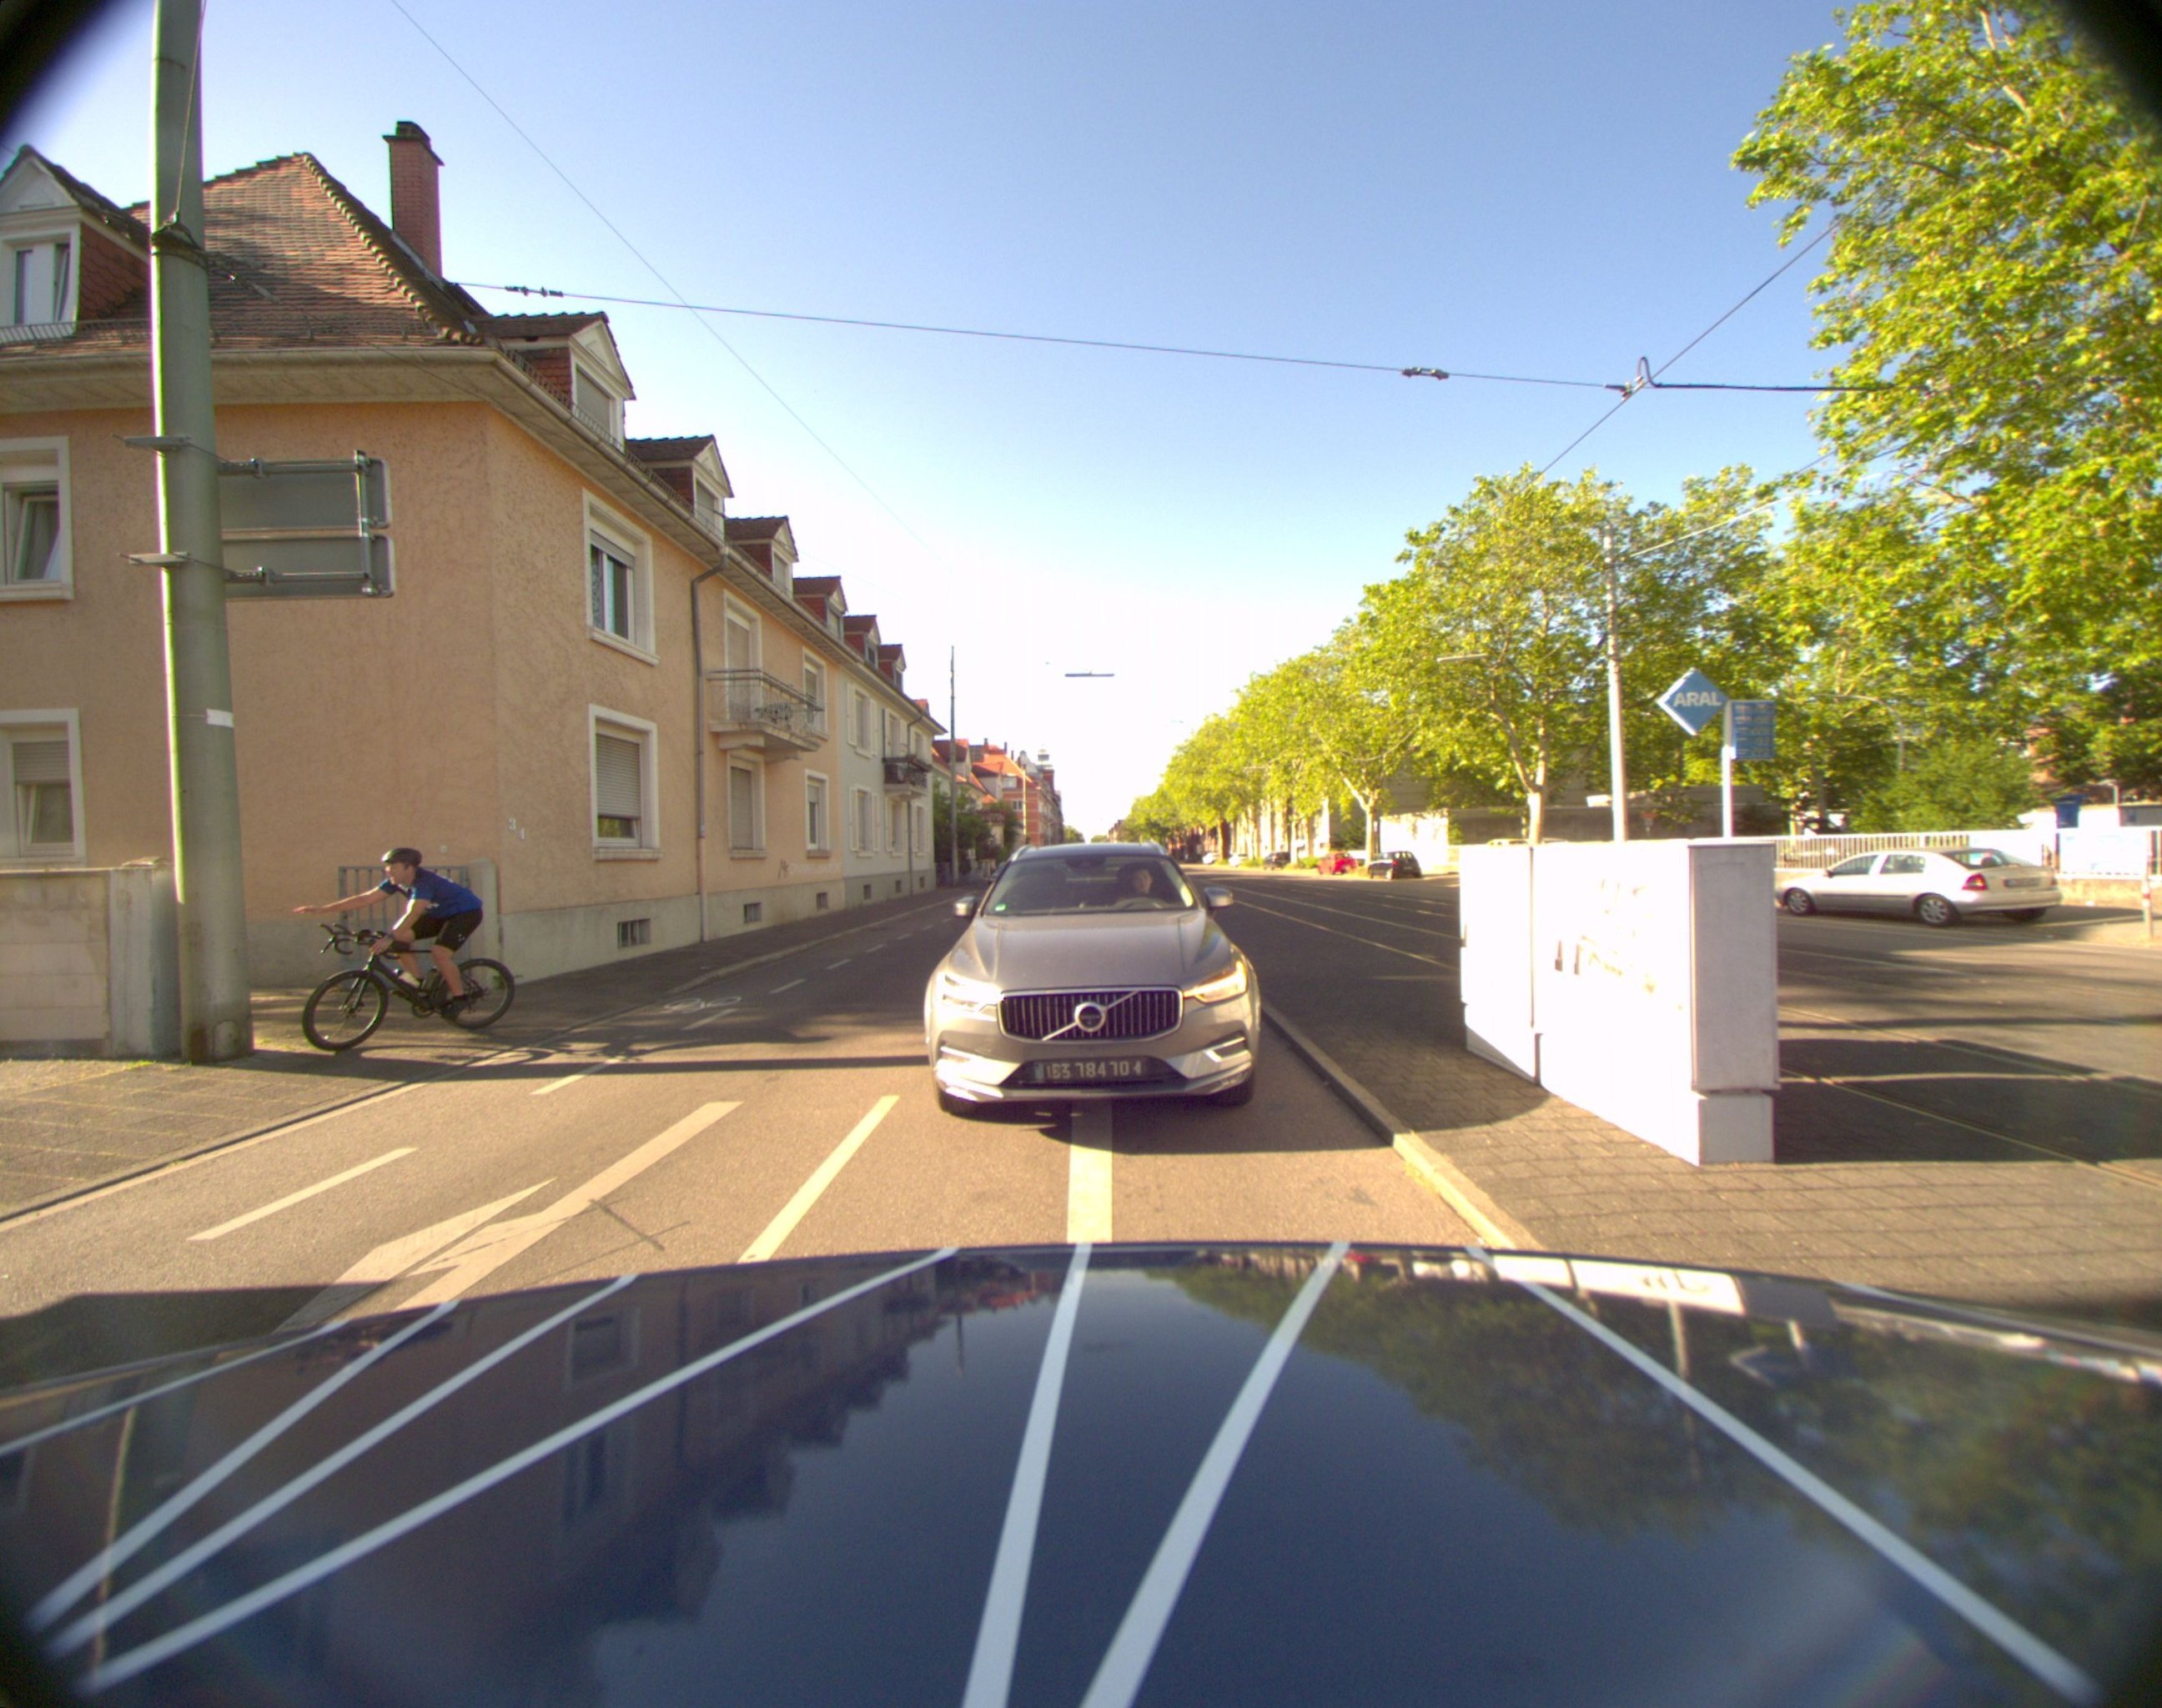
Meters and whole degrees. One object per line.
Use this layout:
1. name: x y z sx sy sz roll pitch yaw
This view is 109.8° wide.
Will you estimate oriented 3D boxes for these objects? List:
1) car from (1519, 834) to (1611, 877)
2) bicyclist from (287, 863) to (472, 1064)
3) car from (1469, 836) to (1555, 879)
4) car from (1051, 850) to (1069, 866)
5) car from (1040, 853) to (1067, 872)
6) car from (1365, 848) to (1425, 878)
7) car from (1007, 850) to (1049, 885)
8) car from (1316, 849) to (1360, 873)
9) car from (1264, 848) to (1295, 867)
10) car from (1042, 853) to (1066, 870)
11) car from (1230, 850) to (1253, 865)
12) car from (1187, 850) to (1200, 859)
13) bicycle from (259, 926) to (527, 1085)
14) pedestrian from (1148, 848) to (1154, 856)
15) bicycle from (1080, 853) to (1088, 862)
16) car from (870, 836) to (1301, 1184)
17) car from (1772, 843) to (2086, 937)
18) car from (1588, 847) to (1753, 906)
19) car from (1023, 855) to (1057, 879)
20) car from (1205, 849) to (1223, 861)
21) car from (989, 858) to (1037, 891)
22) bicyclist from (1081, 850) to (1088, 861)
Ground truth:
1. car: 24.161 0.081 38.100 1.999 2.002 3.999 -1 0 -1
2. bicyclist: -6.096 0.895 6.664 0.561 1.607 1.017 -1 1 11
3. car: 21.813 0.170 38.641 1.999 2.002 3.999 -1 0 -1
4. car: -2.324 0.425 85.450 1.867 1.653 4.078 -1 0 1
5. car: -2.131 0.662 60.057 1.867 1.399 4.078 -1 0 1
6. car: 16.893 0.458 41.042 1.758 1.449 3.858 -3 0 3
7. car: -2.912 0.696 42.830 1.867 1.778 5.297 -1 0 1
8. car: 16.905 0.450 50.184 1.717 1.421 3.858 -3 0 3
9. car: 17.174 0.293 65.915 1.758 1.536 3.858 -3 0 3
10. car: -2.352 0.615 66.361 1.867 1.399 4.078 -1 0 1
11. car: 17.579 0.354 83.343 1.758 1.475 3.858 -3 0 3
12. car: 18.508 0.055 125.293 1.758 1.475 3.858 -3 0 3
13. bicycle: -6.057 1.271 6.849 0.550 1.056 1.796 -1 0 11
14. pedestrian: 19.594 -0.550 213.137 1.686 2.002 1.761 -1 1 1
15. bicycle: 0.472 0.536 112.635 1.054 1.262 3.914 -1 0 1
16. car: 0.054 0.729 5.929 1.998 1.609 4.697 -1 0 1
17. car: 16.240 0.608 14.907 1.847 1.477 3.858 -4 0 2
18. car: 16.480 0.569 21.515 1.745 1.389 3.858 -4 0 3
19. car: -2.577 0.809 48.498 1.867 1.399 4.078 -1 0 1
20. car: 17.673 0.162 100.937 1.758 1.475 3.858 -3 0 3
21. car: -3.235 0.959 37.076 1.867 1.399 4.424 -1 0 1
22. bicyclist: 0.486 0.227 112.743 1.054 1.496 1.250 -1 1 1
